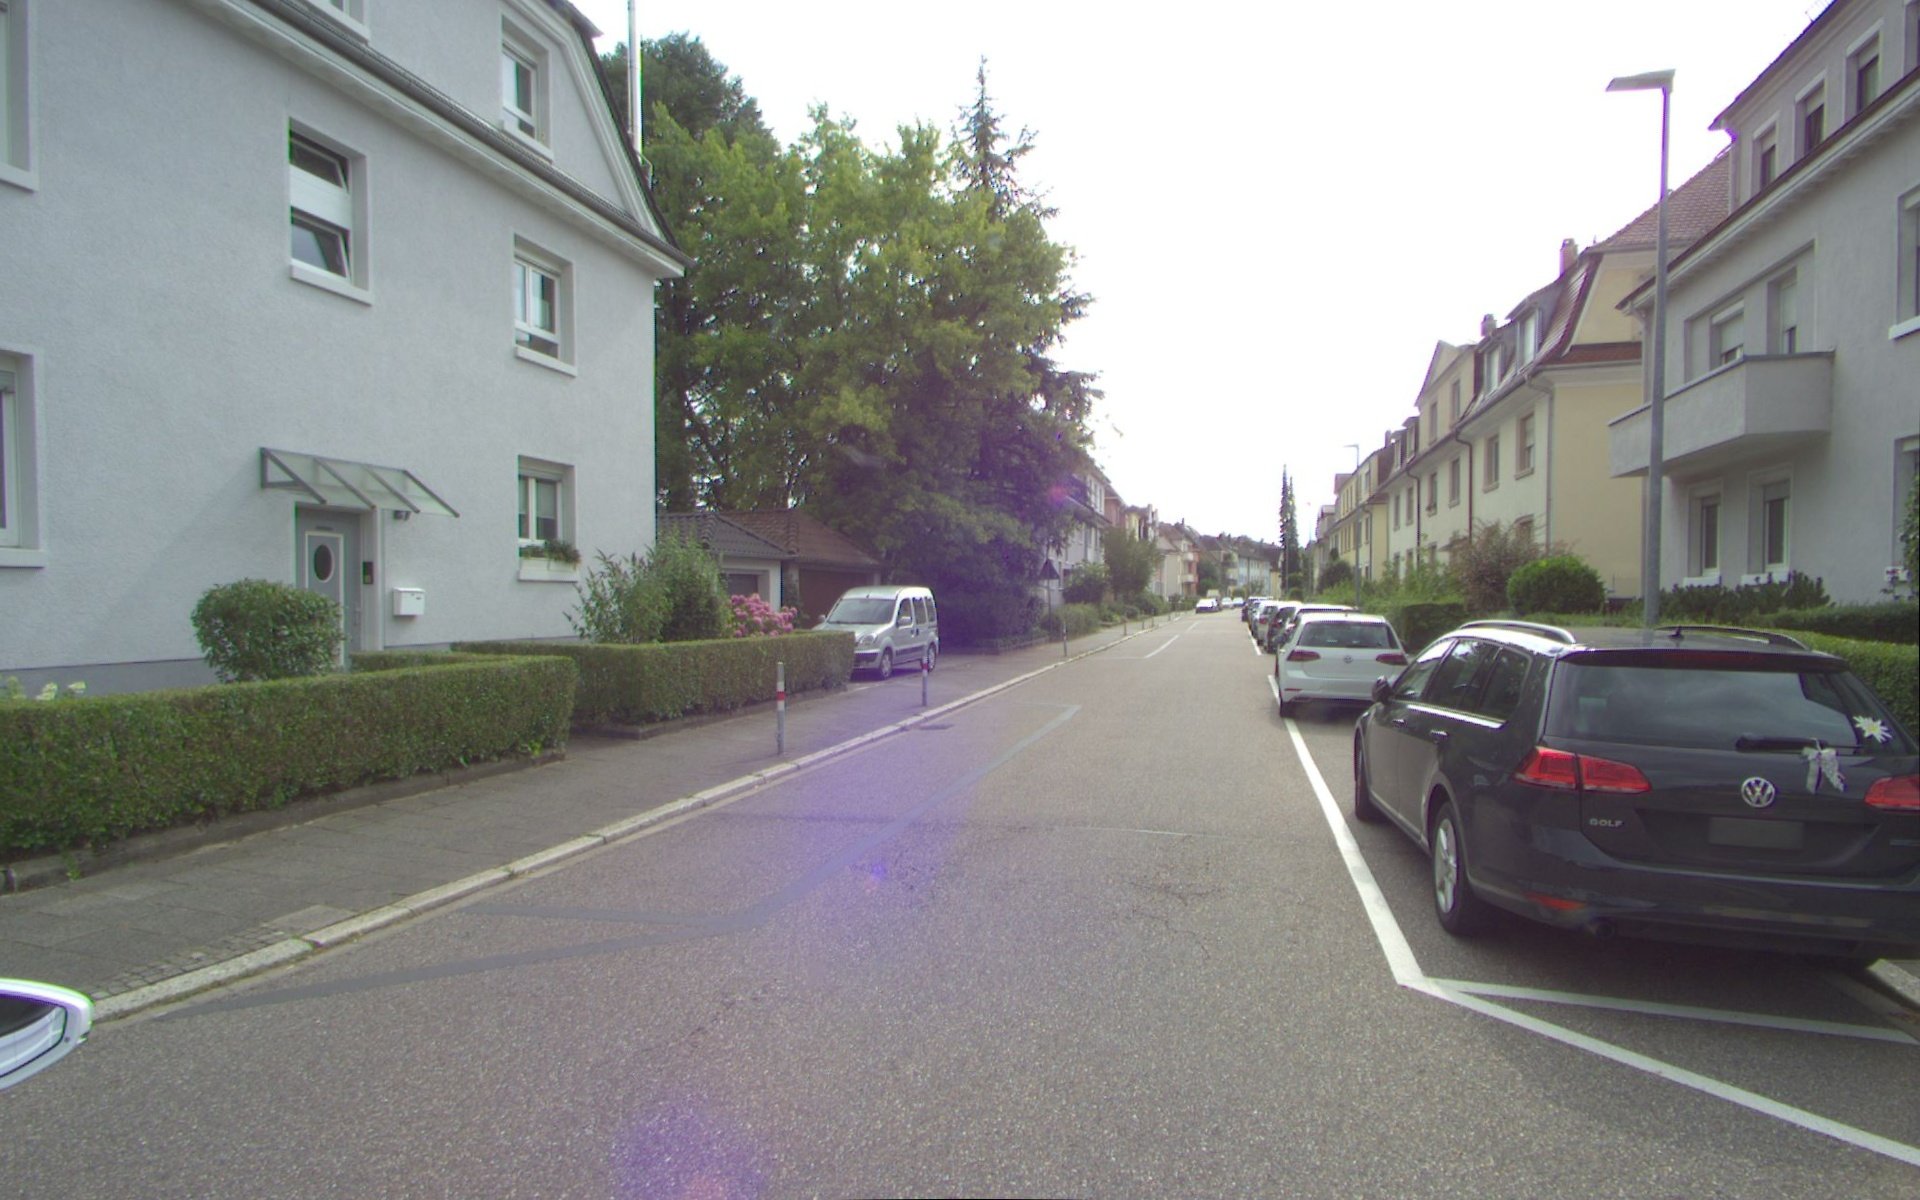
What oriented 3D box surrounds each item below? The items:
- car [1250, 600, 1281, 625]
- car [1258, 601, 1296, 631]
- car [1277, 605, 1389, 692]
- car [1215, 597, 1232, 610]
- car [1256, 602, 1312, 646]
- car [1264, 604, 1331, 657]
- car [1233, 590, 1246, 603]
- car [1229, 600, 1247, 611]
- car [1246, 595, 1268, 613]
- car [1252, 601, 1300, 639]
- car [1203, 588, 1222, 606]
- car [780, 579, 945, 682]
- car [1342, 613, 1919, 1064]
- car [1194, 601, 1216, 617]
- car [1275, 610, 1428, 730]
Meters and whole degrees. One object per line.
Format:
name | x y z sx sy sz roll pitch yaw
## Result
car | 19.576 0.767 64.201 1.826 1.491 4.168 0 0 17
car | 16.644 0.797 52.689 1.826 1.491 4.168 0 0 17
car | 7.263 0.858 19.842 1.826 1.491 4.168 0 0 17
car | 35.852 0.491 136.161 1.965 1.662 3.992 0 0 19
car | 11.714 0.825 36.318 1.826 1.491 4.168 0 0 17
car | 10.393 0.874 31.035 1.826 1.491 4.168 0 0 17
car | 49.745 -0.601 177.966 1.965 2.152 3.992 0 0 19
car | 41.417 0.781 149.196 1.967 1.556 3.987 -1 0 24
car | 26.023 0.347 87.848 1.826 1.599 4.169 0 0 16
car | 13.228 0.794 42.061 1.826 1.491 4.168 0 0 17
car | 30.428 -0.364 120.617 1.964 2.040 3.993 0 0 18
car | -1.844 0.549 20.390 1.964 1.862 3.993 0 0 17
car | 3.425 0.850 5.550 1.825 1.491 4.171 0 0 12
car | 26.692 0.949 108.899 1.965 1.662 3.992 0 0 19
car | 5.738 0.921 15.118 1.826 1.491 4.168 0 0 17
